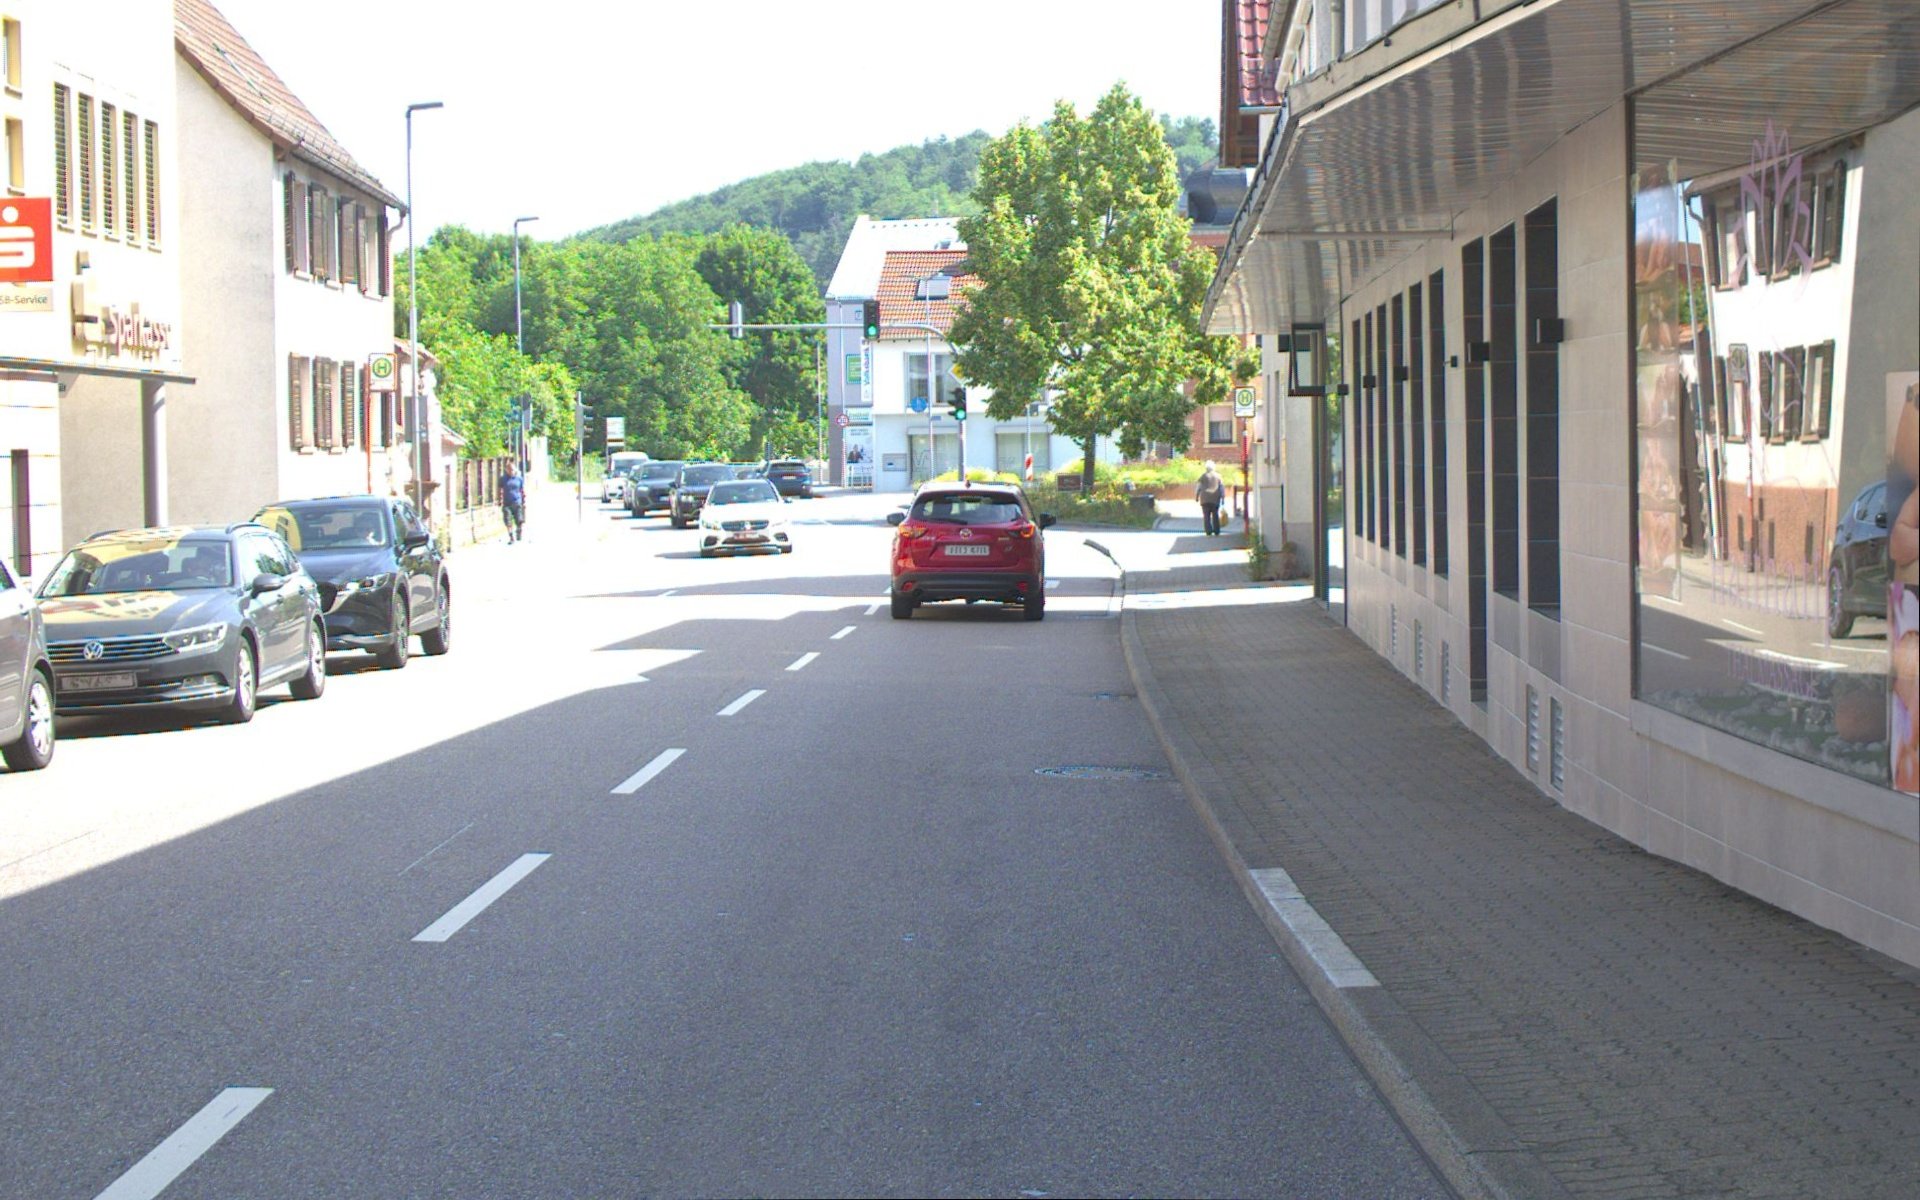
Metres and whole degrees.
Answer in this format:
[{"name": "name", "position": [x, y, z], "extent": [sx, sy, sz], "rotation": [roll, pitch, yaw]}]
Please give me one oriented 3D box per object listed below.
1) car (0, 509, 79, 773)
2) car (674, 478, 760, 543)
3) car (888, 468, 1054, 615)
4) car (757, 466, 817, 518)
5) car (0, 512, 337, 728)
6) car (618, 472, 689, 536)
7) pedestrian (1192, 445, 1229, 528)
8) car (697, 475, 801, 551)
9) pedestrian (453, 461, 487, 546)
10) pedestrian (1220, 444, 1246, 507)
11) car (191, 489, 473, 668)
[{"name": "car", "position": [-6.364, 0.273, 19.495], "extent": [1.629, 1.515, 4.020], "rotation": [-2, 2, 0]}, {"name": "car", "position": [-6.390, -2.370, 90.711], "extent": [1.839, 1.527, 4.253], "rotation": [-1, 4, 1]}, {"name": "car", "position": [0.187, -0.758, 42.579], "extent": [1.859, 1.709, 4.422], "rotation": [1, 2, 3]}, {"name": "car", "position": [-6.425, -3.996, 128.047], "extent": [1.932, 1.788, 3.956], "rotation": [-1, 0, 2]}, {"name": "car", "position": [-6.062, 0.089, 26.115], "extent": [1.789, 1.445, 4.424], "rotation": [-2, 2, 0]}, {"name": "car", "position": [-9.121, -2.847, 102.392], "extent": [1.774, 1.778, 3.839], "rotation": [-1, 0, -1]}, {"name": "pedestrian", "position": [5.196, -2.350, 71.315], "extent": [0.642, 1.701, 0.700], "rotation": [-1, 0, -5]}, {"name": "car", "position": [-4.288, -1.754, 69.240], "extent": [1.987, 1.439, 5.102], "rotation": [-1, 2, -4]}, {"name": "pedestrian", "position": [-10.659, -2.091, 74.843], "extent": [0.665, 1.818, 0.799], "rotation": [-1, 0, -5]}, {"name": "pedestrian", "position": [8.342, -3.805, 105.078], "extent": [0.642, 1.872, 0.652], "rotation": [-1, 0, -5]}, {"name": "car", "position": [-6.085, -0.261, 33.815], "extent": [1.867, 1.584, 4.518], "rotation": [-2, 2, 0]}]
